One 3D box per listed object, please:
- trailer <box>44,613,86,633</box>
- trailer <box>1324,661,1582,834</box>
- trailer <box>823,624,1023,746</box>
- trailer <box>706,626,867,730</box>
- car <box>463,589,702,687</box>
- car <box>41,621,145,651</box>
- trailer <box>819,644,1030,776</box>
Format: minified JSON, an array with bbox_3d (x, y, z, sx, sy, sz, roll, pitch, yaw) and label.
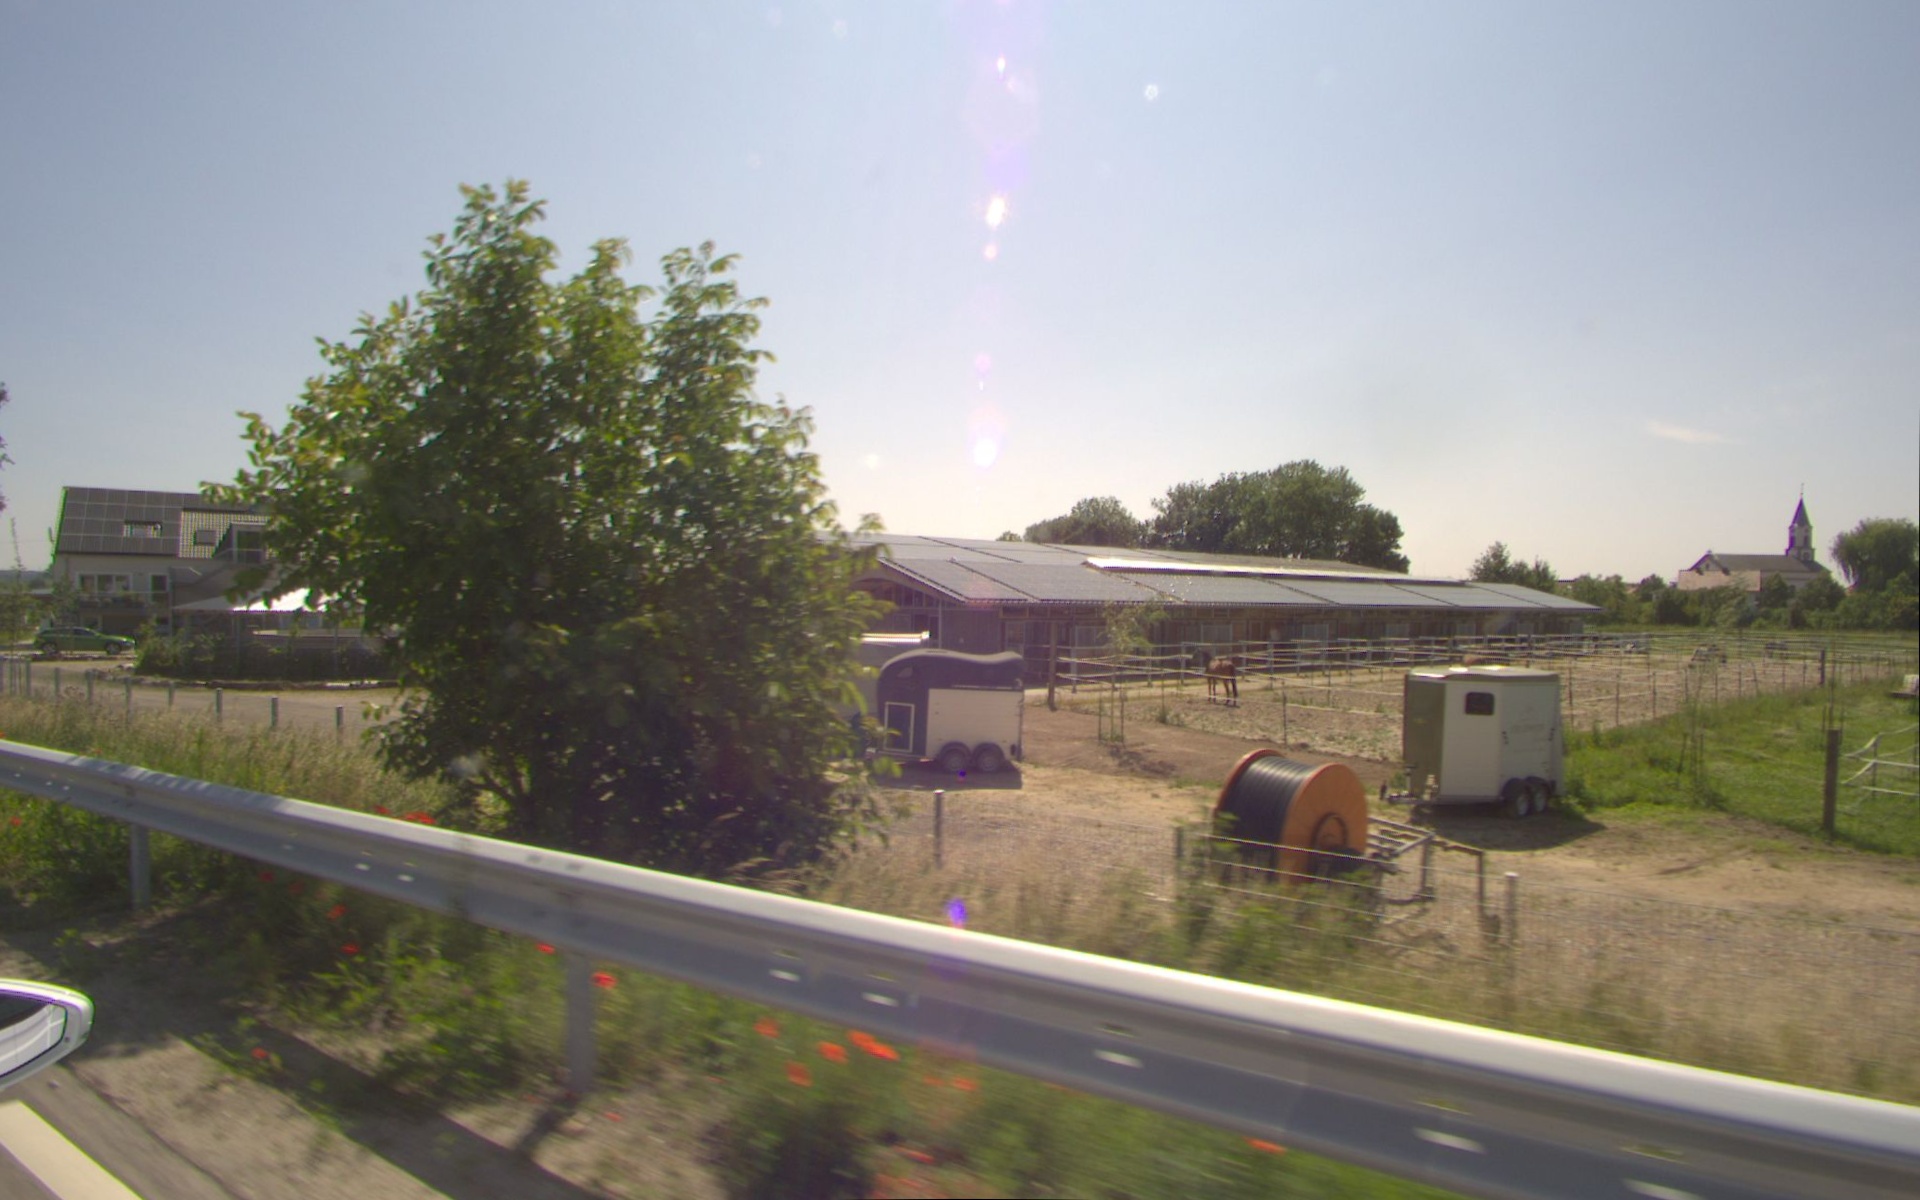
[{"bbox_3d":[-69.030,1.786,77.249,1.691,1.515,3.127,1,-2,-28],"label":"trailer"},{"bbox_3d":[9.607,2.660,19.388,5.121,2.724,2.193,1,1,-34],"label":"trailer"},{"bbox_3d":[-1.035,2.139,25.967,4.949,2.903,2.232,1,1,-9],"label":"trailer"},{"bbox_3d":[-4.994,2.196,29.093,4.396,2.706,2.173,-1,1,-9],"label":"trailer"},{"bbox_3d":[-15.489,1.524,41.608,8.890,3.701,2.758,1,0,-37],"label":"car"},{"bbox_3d":[-49.779,2.083,57.615,4.319,1.600,1.921,2,-3,-35],"label":"car"},{"bbox_3d":[-0.858,2.434,22.739,4.469,2.666,1.822,1,4,-13],"label":"trailer"}]
